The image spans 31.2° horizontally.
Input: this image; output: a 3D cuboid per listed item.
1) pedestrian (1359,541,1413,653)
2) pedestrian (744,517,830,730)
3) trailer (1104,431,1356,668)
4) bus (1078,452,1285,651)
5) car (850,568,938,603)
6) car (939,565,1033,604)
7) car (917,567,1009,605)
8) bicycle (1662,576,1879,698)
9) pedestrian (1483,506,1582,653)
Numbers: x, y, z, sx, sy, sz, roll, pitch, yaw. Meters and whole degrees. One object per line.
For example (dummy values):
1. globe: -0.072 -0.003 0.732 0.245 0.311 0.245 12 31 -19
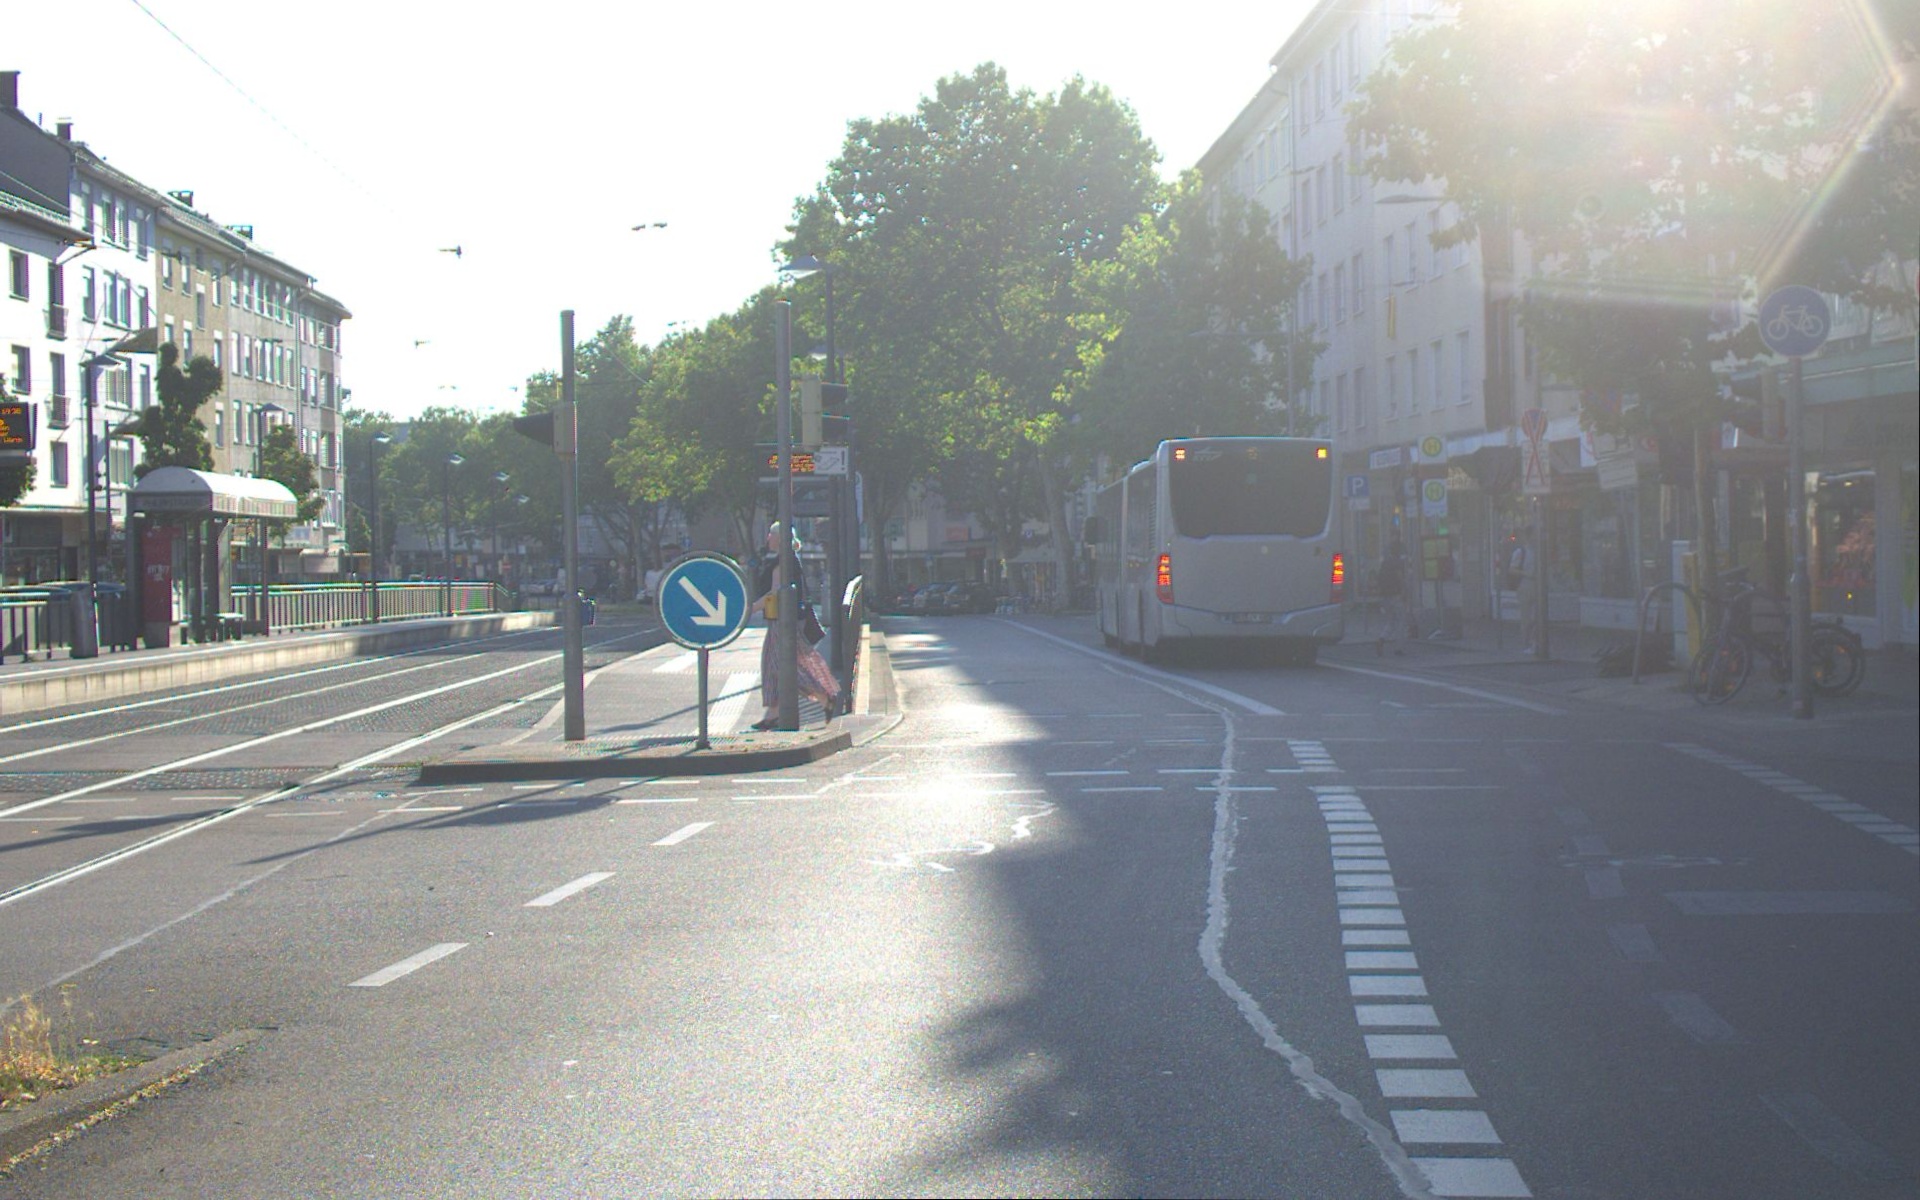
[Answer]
1. pedestrian: 6.257 -0.049 50.480 0.676 1.622 0.655 1 1 0
2. pedestrian: -1.449 0.191 28.856 0.680 1.764 0.687 0 1 0
3. trailer: 3.769 -0.723 50.033 2.812 3.100 8.795 1 1 -1
4. bus: 3.668 -0.823 58.999 2.812 3.091 9.095 1 1 -1
5. car: -3.182 -0.697 166.603 3.889 1.591 1.691 -2 1 -29
6. car: 1.190 -0.723 158.553 3.889 1.693 1.833 -2 1 -29
7. car: 0.126 -0.686 161.338 3.889 1.693 1.833 -2 1 -29
8. bicycle: 7.382 0.329 31.343 1.772 1.018 0.694 -2 1 -1
9. pedestrian: 7.915 -0.290 47.524 0.954 2.007 0.917 1 1 -39
